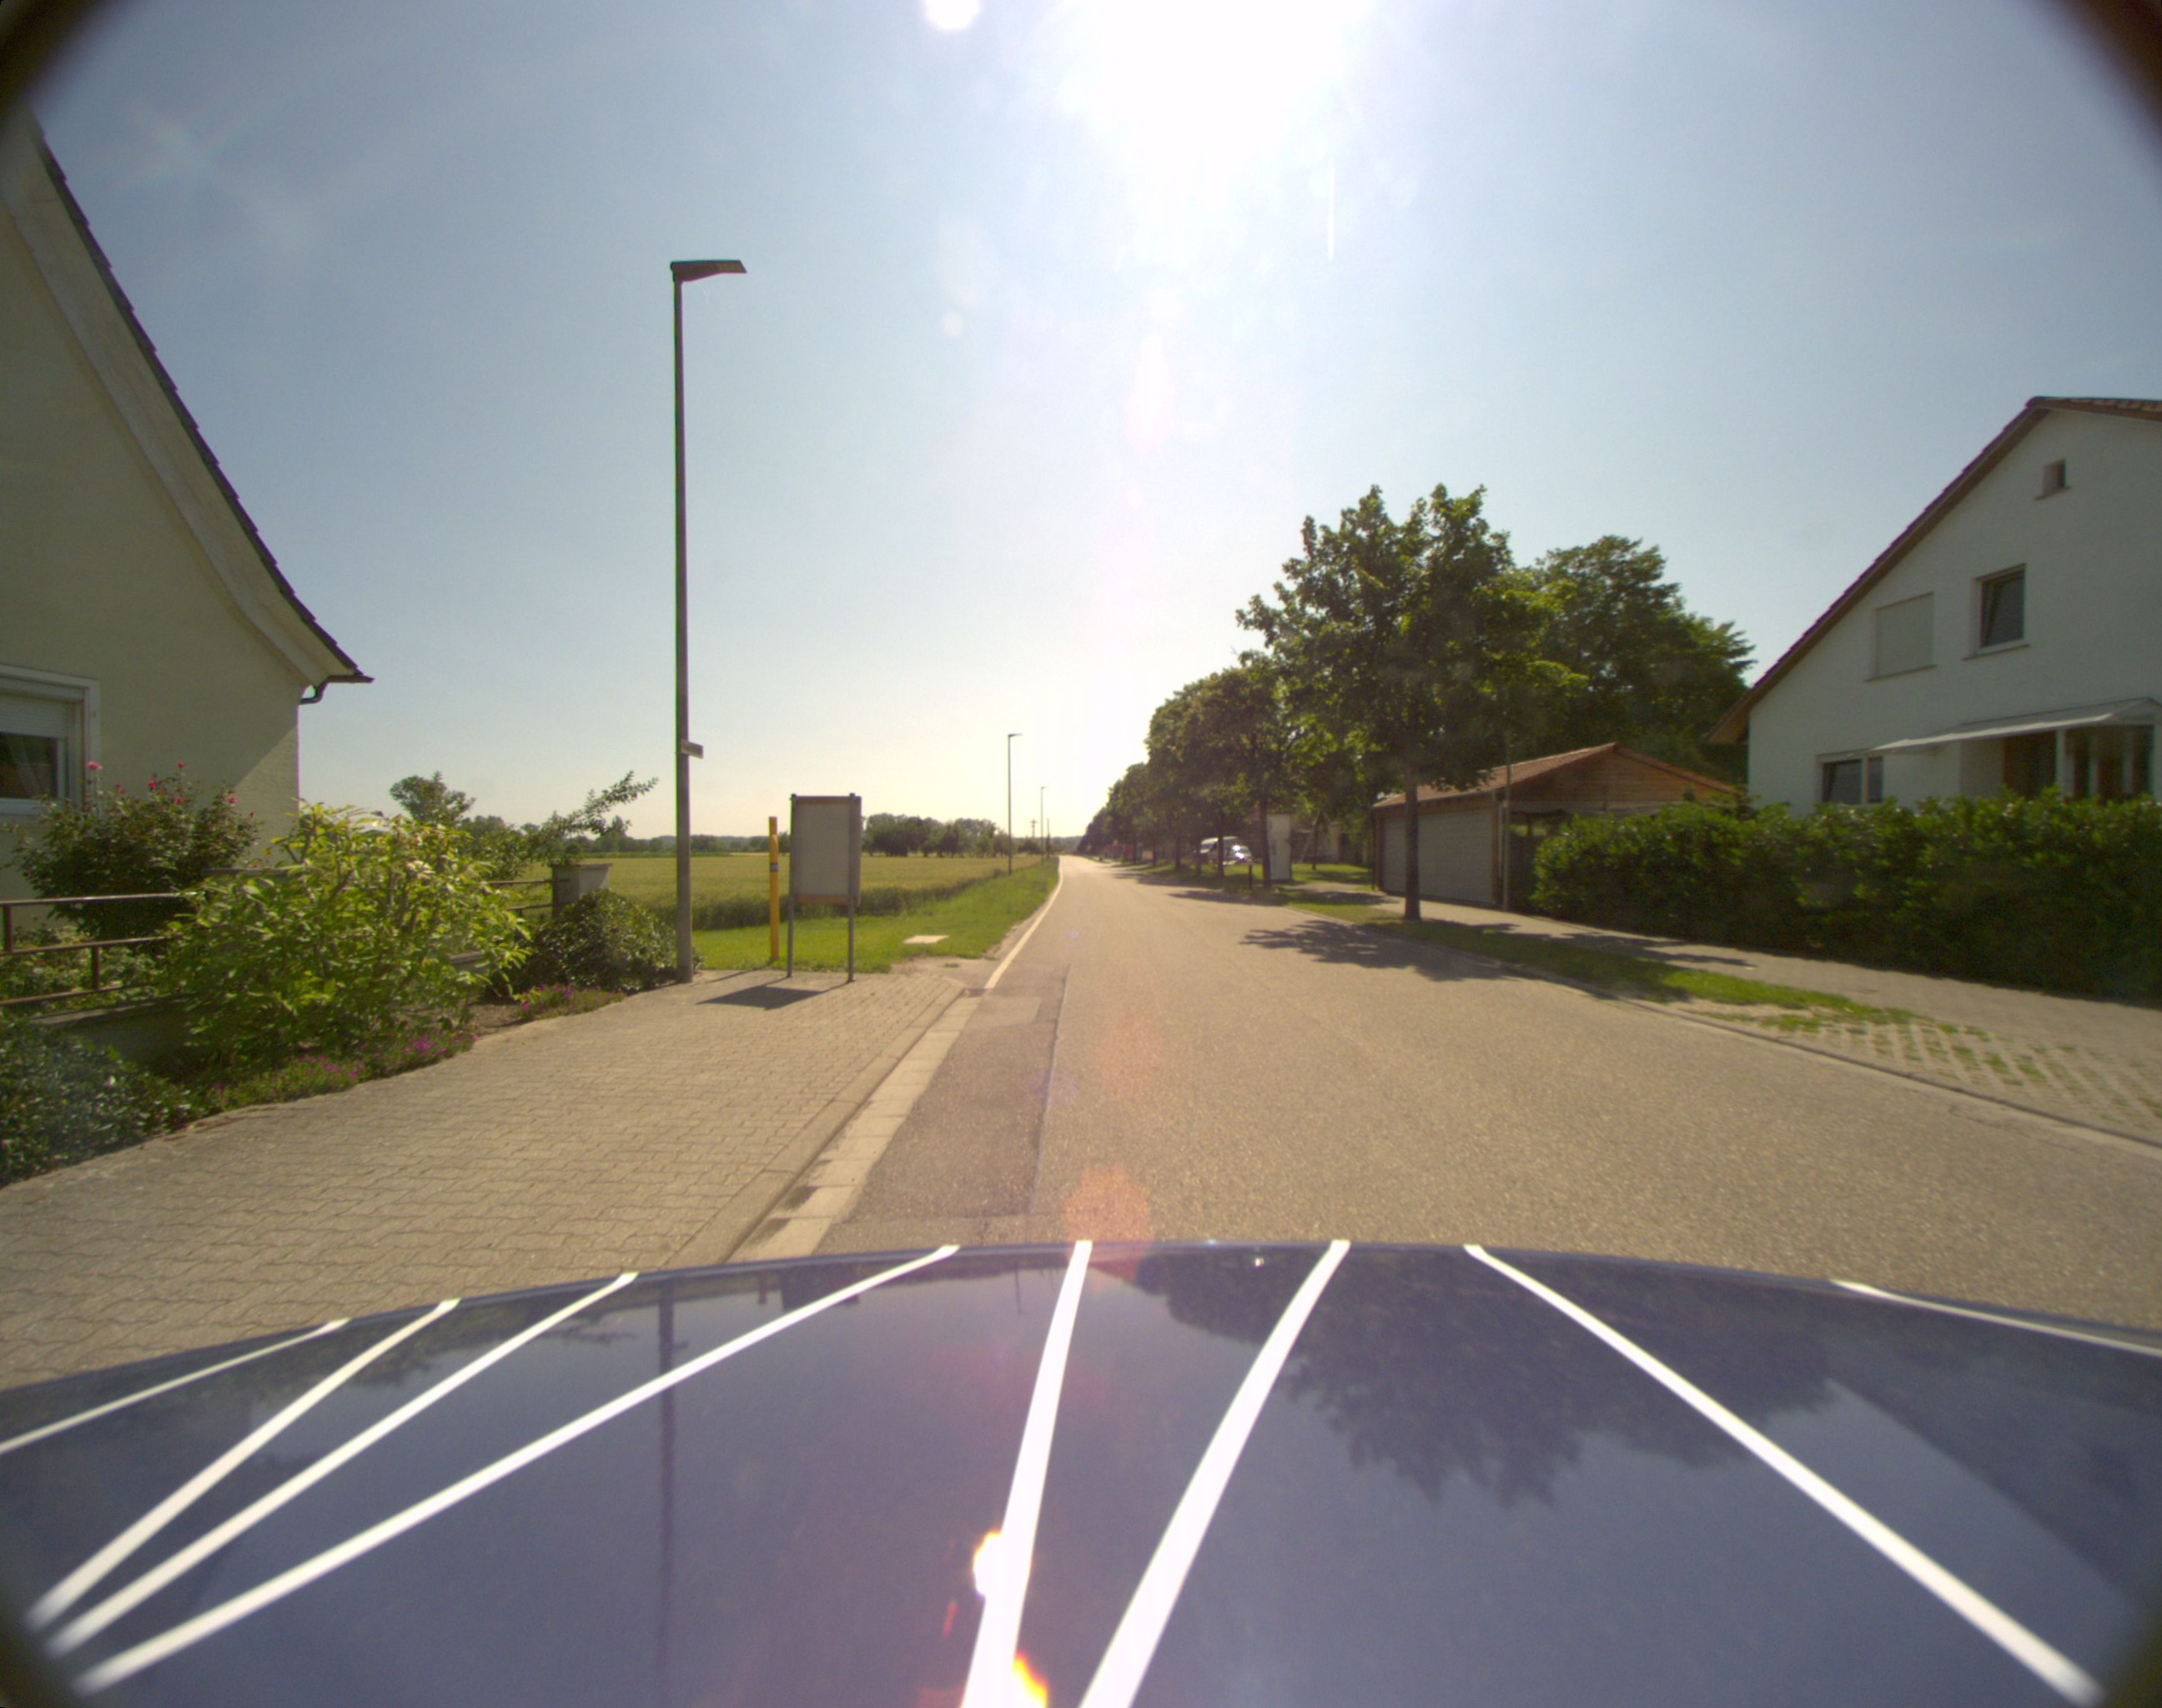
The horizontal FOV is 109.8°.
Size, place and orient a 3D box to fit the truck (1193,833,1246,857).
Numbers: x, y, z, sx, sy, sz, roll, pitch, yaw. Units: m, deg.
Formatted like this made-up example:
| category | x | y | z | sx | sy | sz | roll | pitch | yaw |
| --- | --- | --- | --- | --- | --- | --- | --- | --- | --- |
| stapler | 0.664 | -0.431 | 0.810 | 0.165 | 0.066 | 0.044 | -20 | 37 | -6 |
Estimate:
| category | x | y | z | sx | sy | sz | roll | pitch | yaw |
| --- | --- | --- | --- | --- | --- | --- | --- | --- | --- |
| truck | 14.593 | -0.956 | 79.982 | 5.943 | 2.469 | 1.994 | -1 | 1 | -38 |

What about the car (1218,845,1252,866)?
| category | x | y | z | sx | sy | sz | roll | pitch | yaw |
| --- | --- | --- | --- | --- | --- | --- | --- | --- | --- |
| car | 13.867 | 0.132 | 68.635 | 1.976 | 1.827 | 4.327 | -1 | 1 | -2 |
